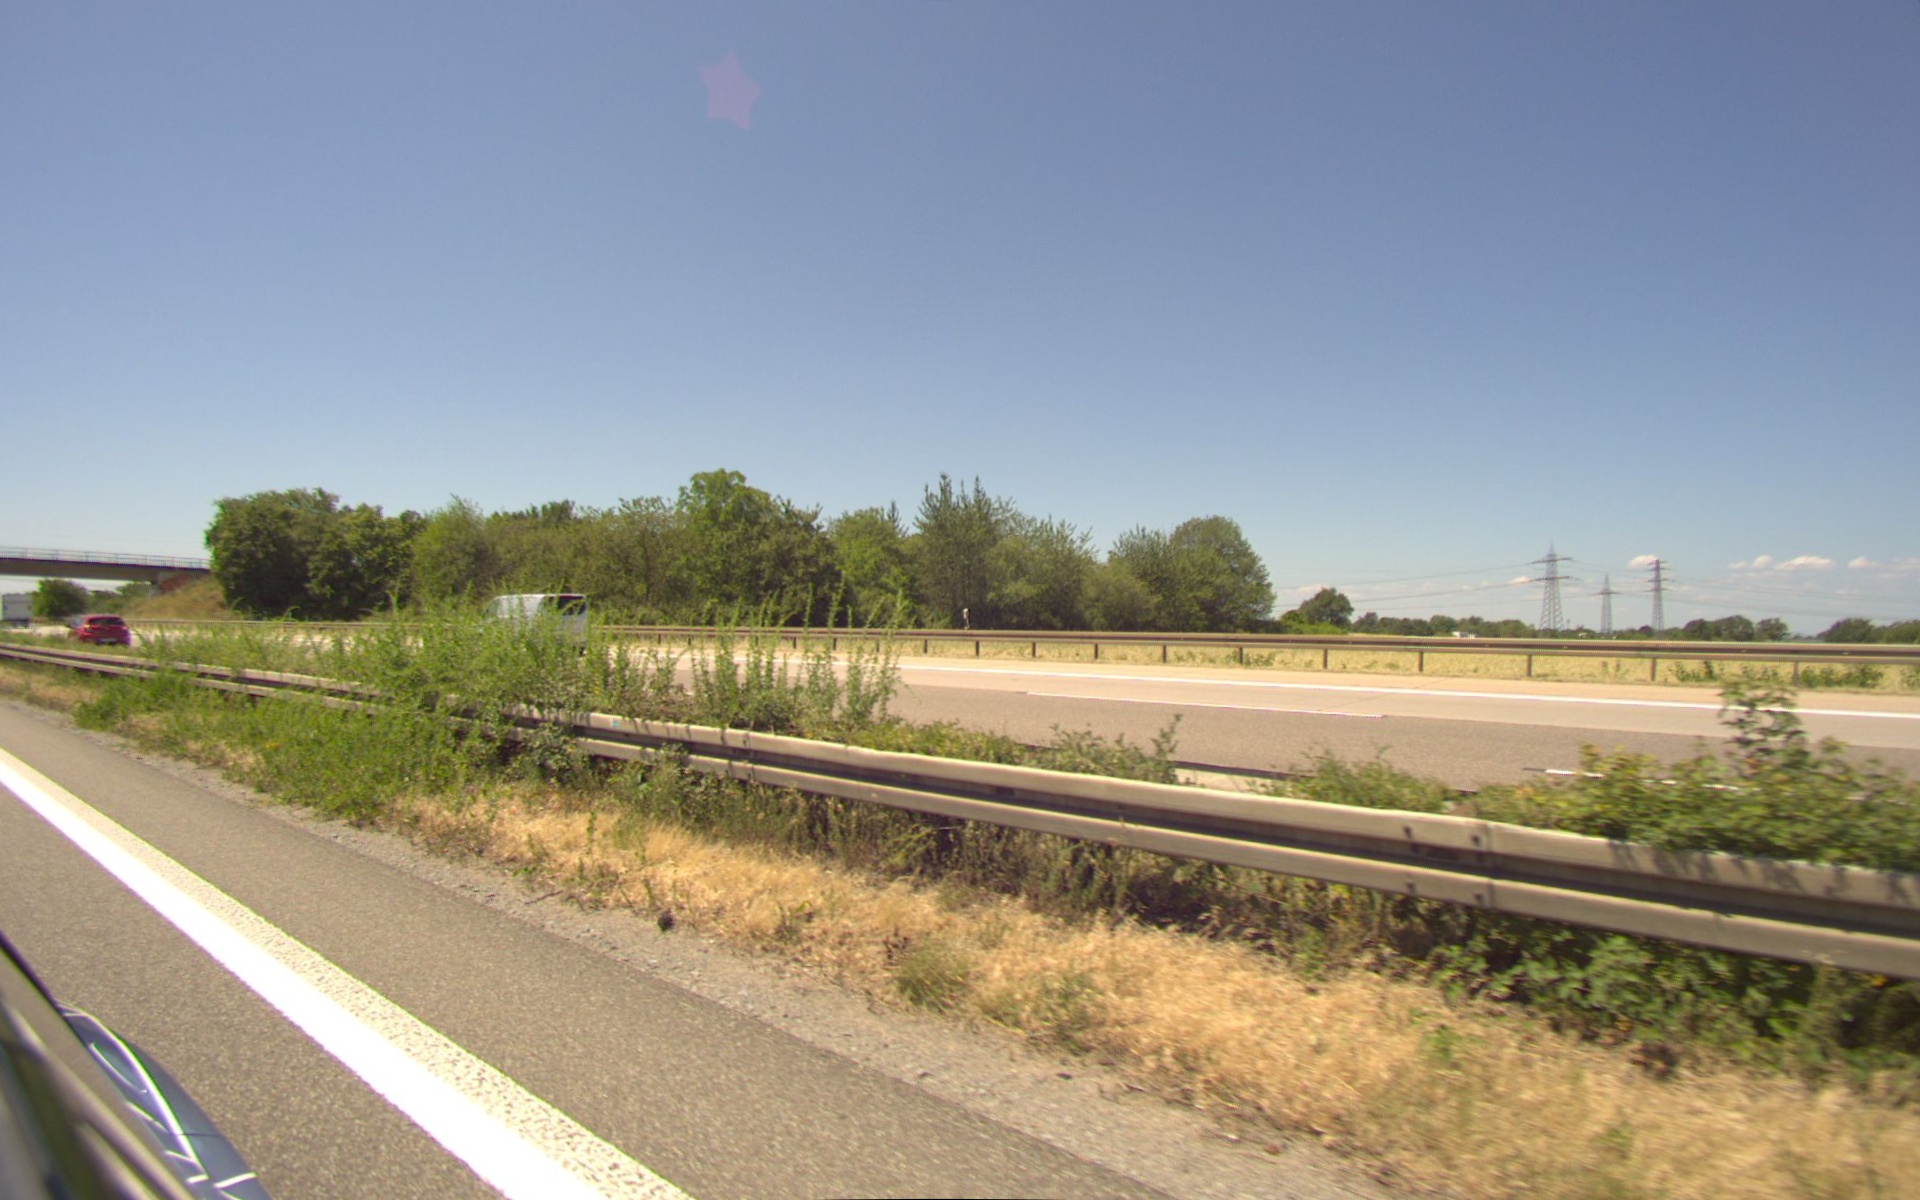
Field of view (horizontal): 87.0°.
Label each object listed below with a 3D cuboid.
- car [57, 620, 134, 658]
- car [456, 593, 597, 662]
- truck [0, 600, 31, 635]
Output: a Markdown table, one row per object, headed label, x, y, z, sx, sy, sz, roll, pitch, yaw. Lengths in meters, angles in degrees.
| label | x | y | z | sx | sy | sz | roll | pitch | yaw |
| --- | --- | --- | --- | --- | --- | --- | --- | --- | --- |
| car | -36.027 | 1.571 | 42.131 | 4.133 | 1.503 | 1.677 | -1 | -1 | 38 |
| car | -14.159 | 0.871 | 32.922 | 5.405 | 2.086 | 2.037 | -1 | -1 | 41 |
| truck | -87.098 | 1.612 | 92.359 | 6.981 | 3.122 | 2.428 | -1 | -1 | 39 |
